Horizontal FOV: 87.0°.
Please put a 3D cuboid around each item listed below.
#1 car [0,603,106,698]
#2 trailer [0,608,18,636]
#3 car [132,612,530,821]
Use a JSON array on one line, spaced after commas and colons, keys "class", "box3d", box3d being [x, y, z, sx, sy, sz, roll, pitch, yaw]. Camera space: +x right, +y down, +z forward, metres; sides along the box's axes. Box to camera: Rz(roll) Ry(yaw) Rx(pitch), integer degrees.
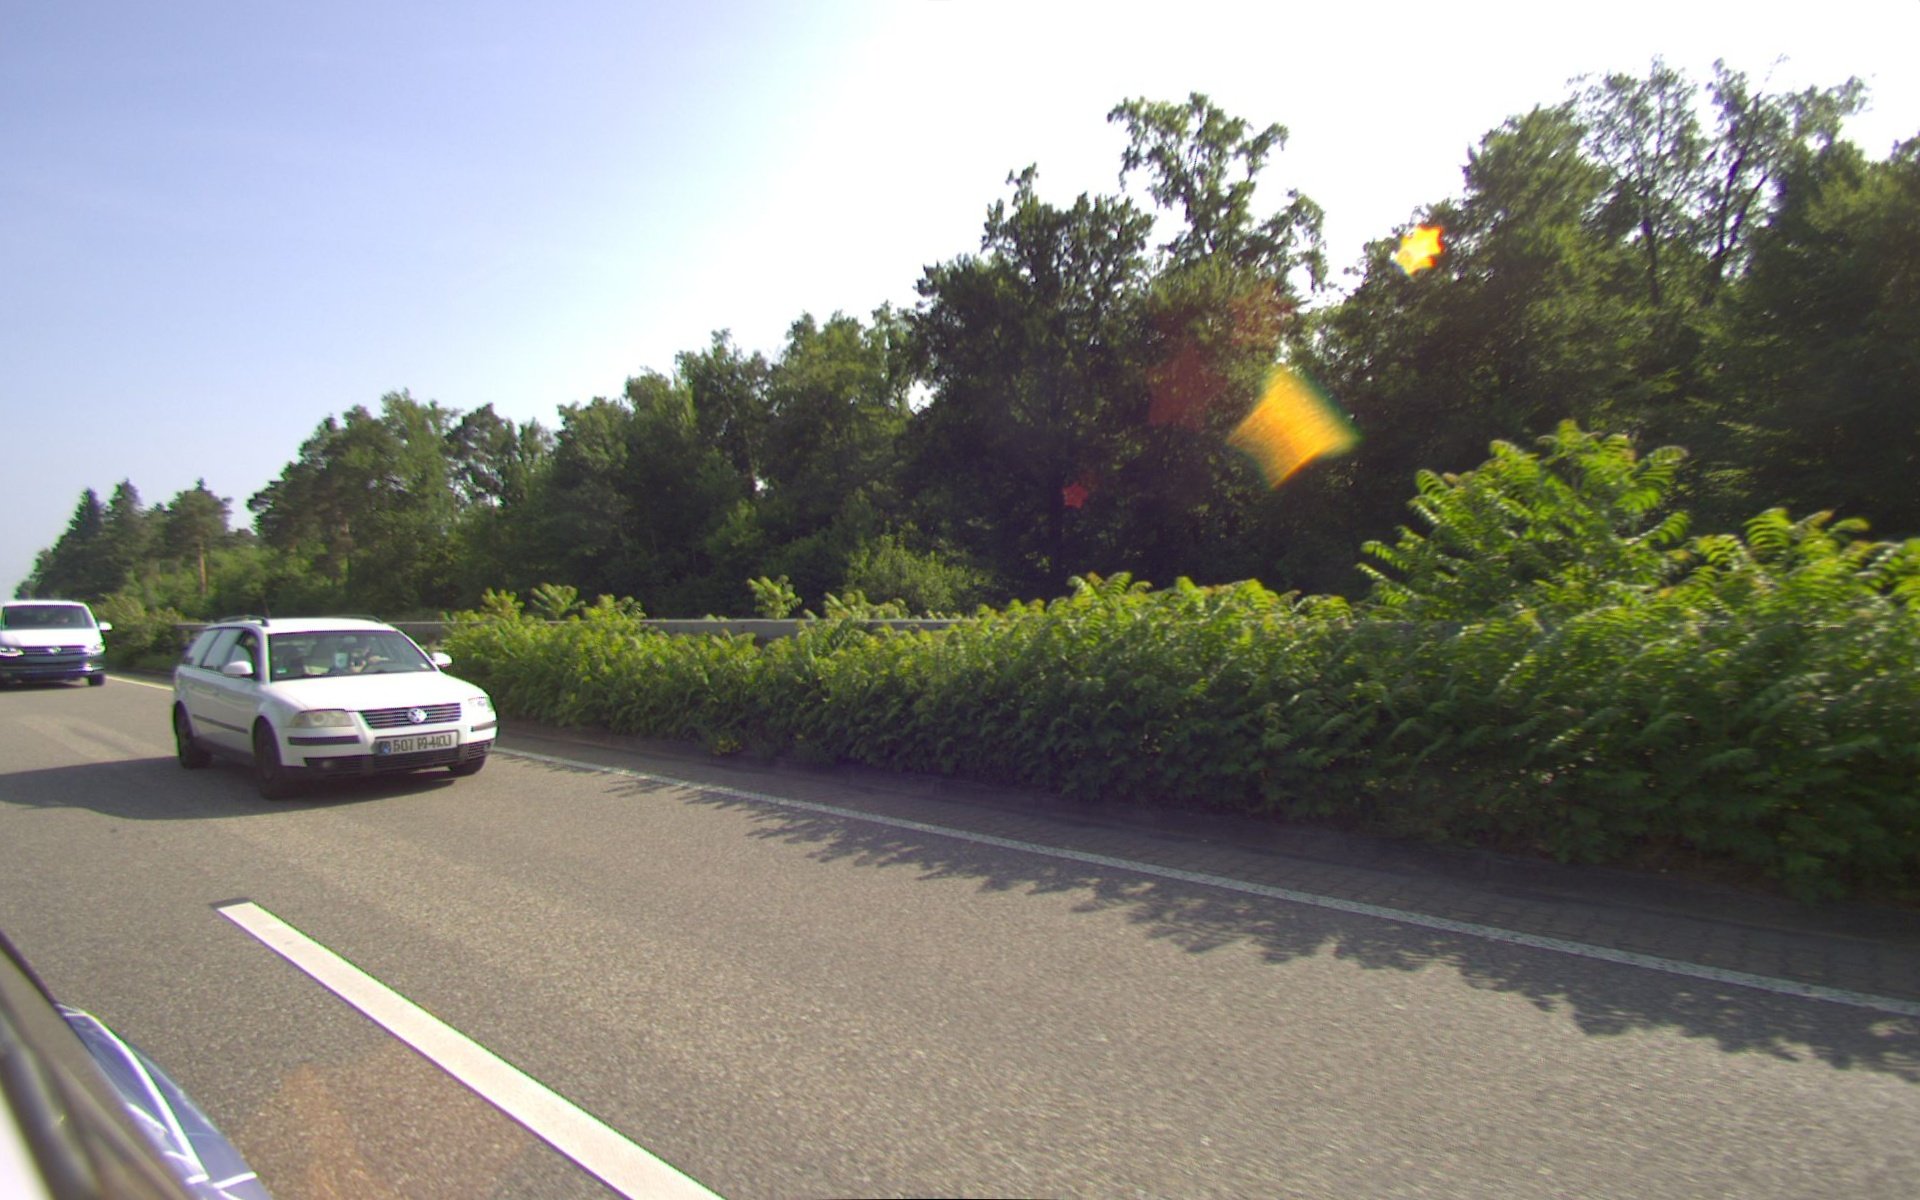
[{"class": "car", "box3d": [-21.035, 1.085, 22.946, 4.705, 1.960, 1.887, -1, -1, 42]}, {"class": "trailer", "box3d": [-146.782, 3.386, 154.717, 12.406, 4.241, 2.803, -2, -2, 42]}, {"class": "car", "box3d": [-6.263, 0.907, 9.743, 5.259, 1.497, 1.732, -1, -1, 40]}]
